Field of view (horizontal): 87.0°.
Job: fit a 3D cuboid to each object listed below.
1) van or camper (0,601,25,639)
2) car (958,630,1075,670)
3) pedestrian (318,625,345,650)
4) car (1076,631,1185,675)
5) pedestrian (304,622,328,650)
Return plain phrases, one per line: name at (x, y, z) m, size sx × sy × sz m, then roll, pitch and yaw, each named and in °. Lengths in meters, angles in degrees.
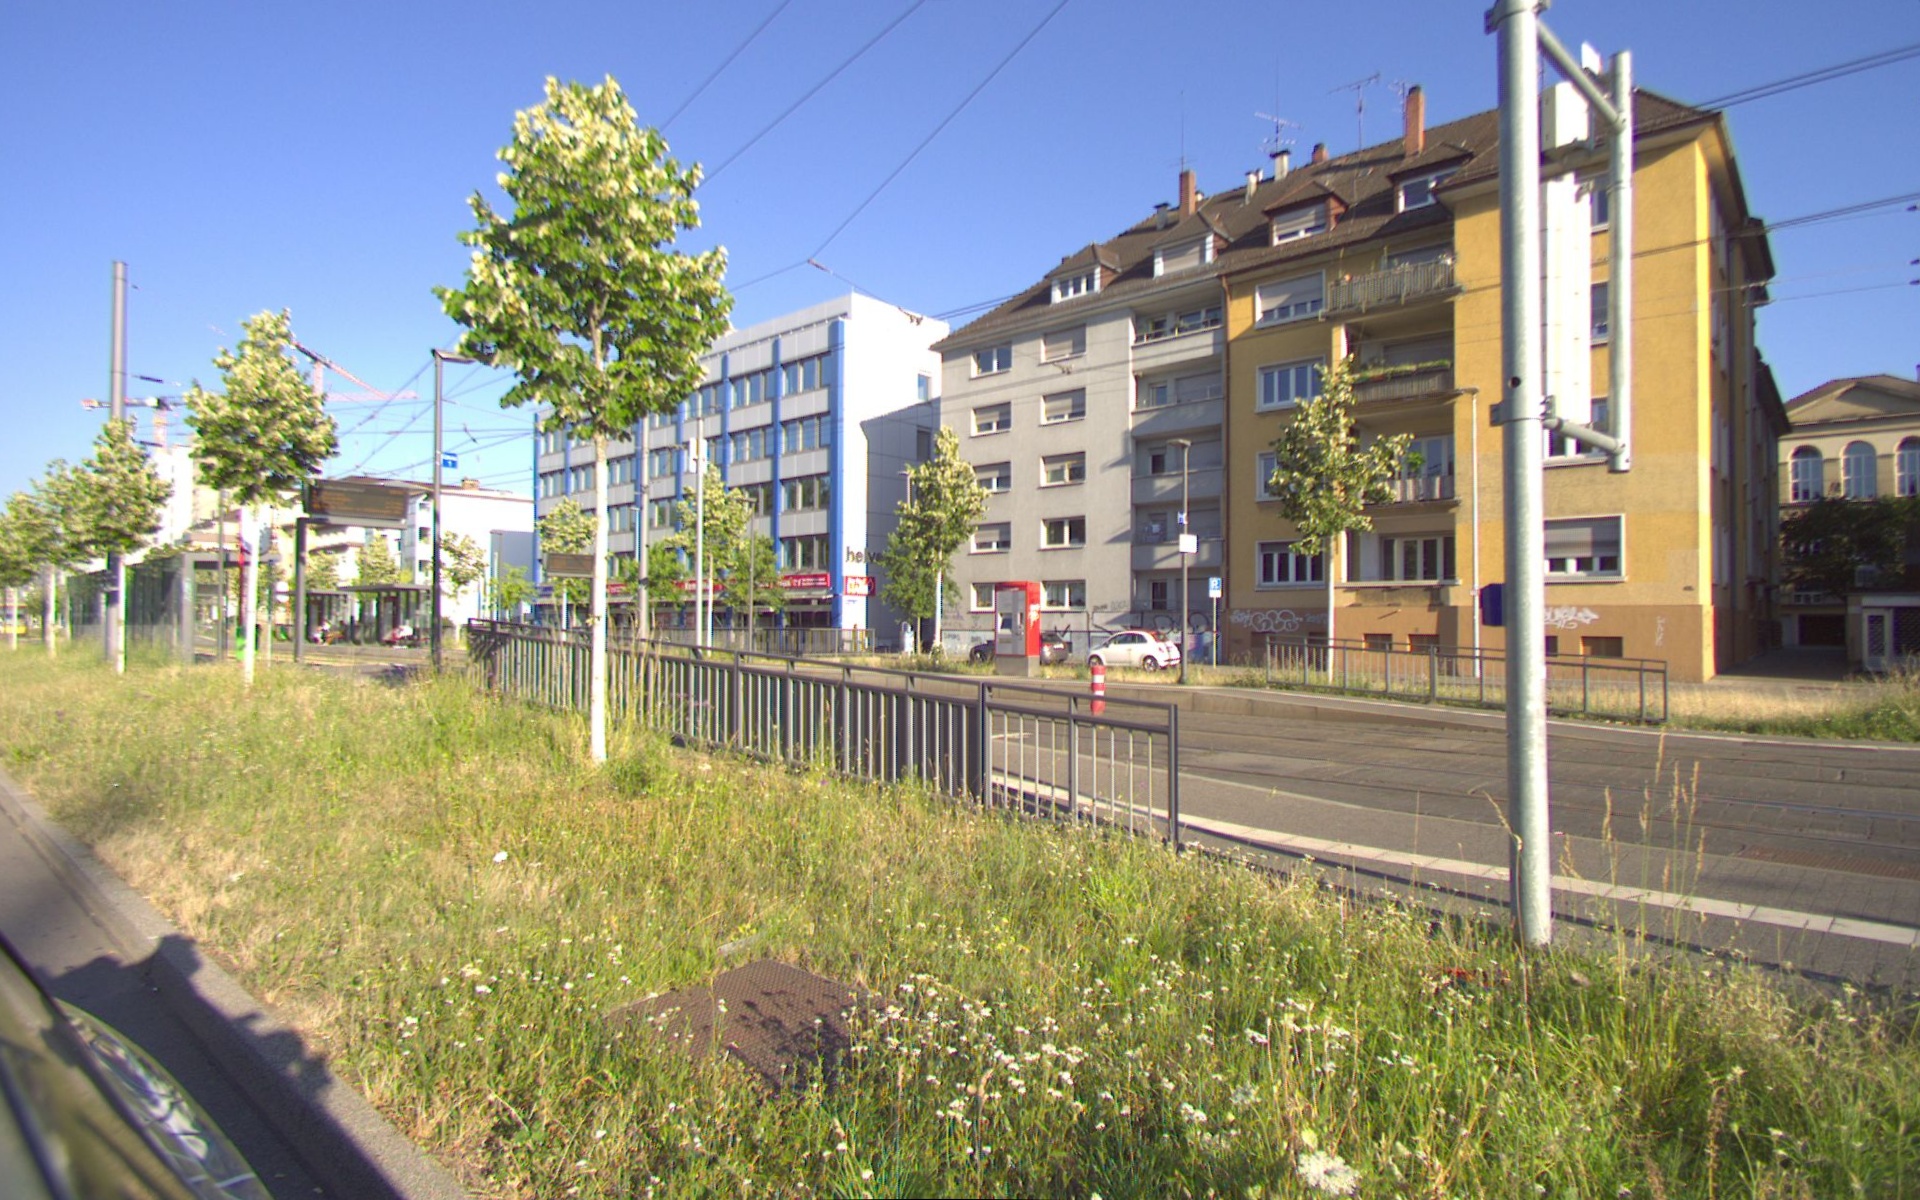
van or camper at (-83.741, 1.789, 88.535) m, size 7.479 × 3.192 × 2.476 m, roll -2°, pitch -2°, yaw 45°
car at (2.239, 1.954, 40.576) m, size 4.429 × 1.519 × 1.973 m, roll -1°, pitch -2°, yaw 41°
pedestrian at (-31.449, 1.870, 50.643) m, size 0.764 × 1.206 × 0.924 m, roll -1°, pitch -2°, yaw 41°
car at (6.194, 1.899, 36.961) m, size 3.551 × 1.497 × 1.729 m, roll -1°, pitch -2°, yaw 41°
pedestrian at (-33.340, 1.841, 52.388) m, size 0.803 × 1.421 × 0.829 m, roll -1°, pitch -2°, yaw 41°
